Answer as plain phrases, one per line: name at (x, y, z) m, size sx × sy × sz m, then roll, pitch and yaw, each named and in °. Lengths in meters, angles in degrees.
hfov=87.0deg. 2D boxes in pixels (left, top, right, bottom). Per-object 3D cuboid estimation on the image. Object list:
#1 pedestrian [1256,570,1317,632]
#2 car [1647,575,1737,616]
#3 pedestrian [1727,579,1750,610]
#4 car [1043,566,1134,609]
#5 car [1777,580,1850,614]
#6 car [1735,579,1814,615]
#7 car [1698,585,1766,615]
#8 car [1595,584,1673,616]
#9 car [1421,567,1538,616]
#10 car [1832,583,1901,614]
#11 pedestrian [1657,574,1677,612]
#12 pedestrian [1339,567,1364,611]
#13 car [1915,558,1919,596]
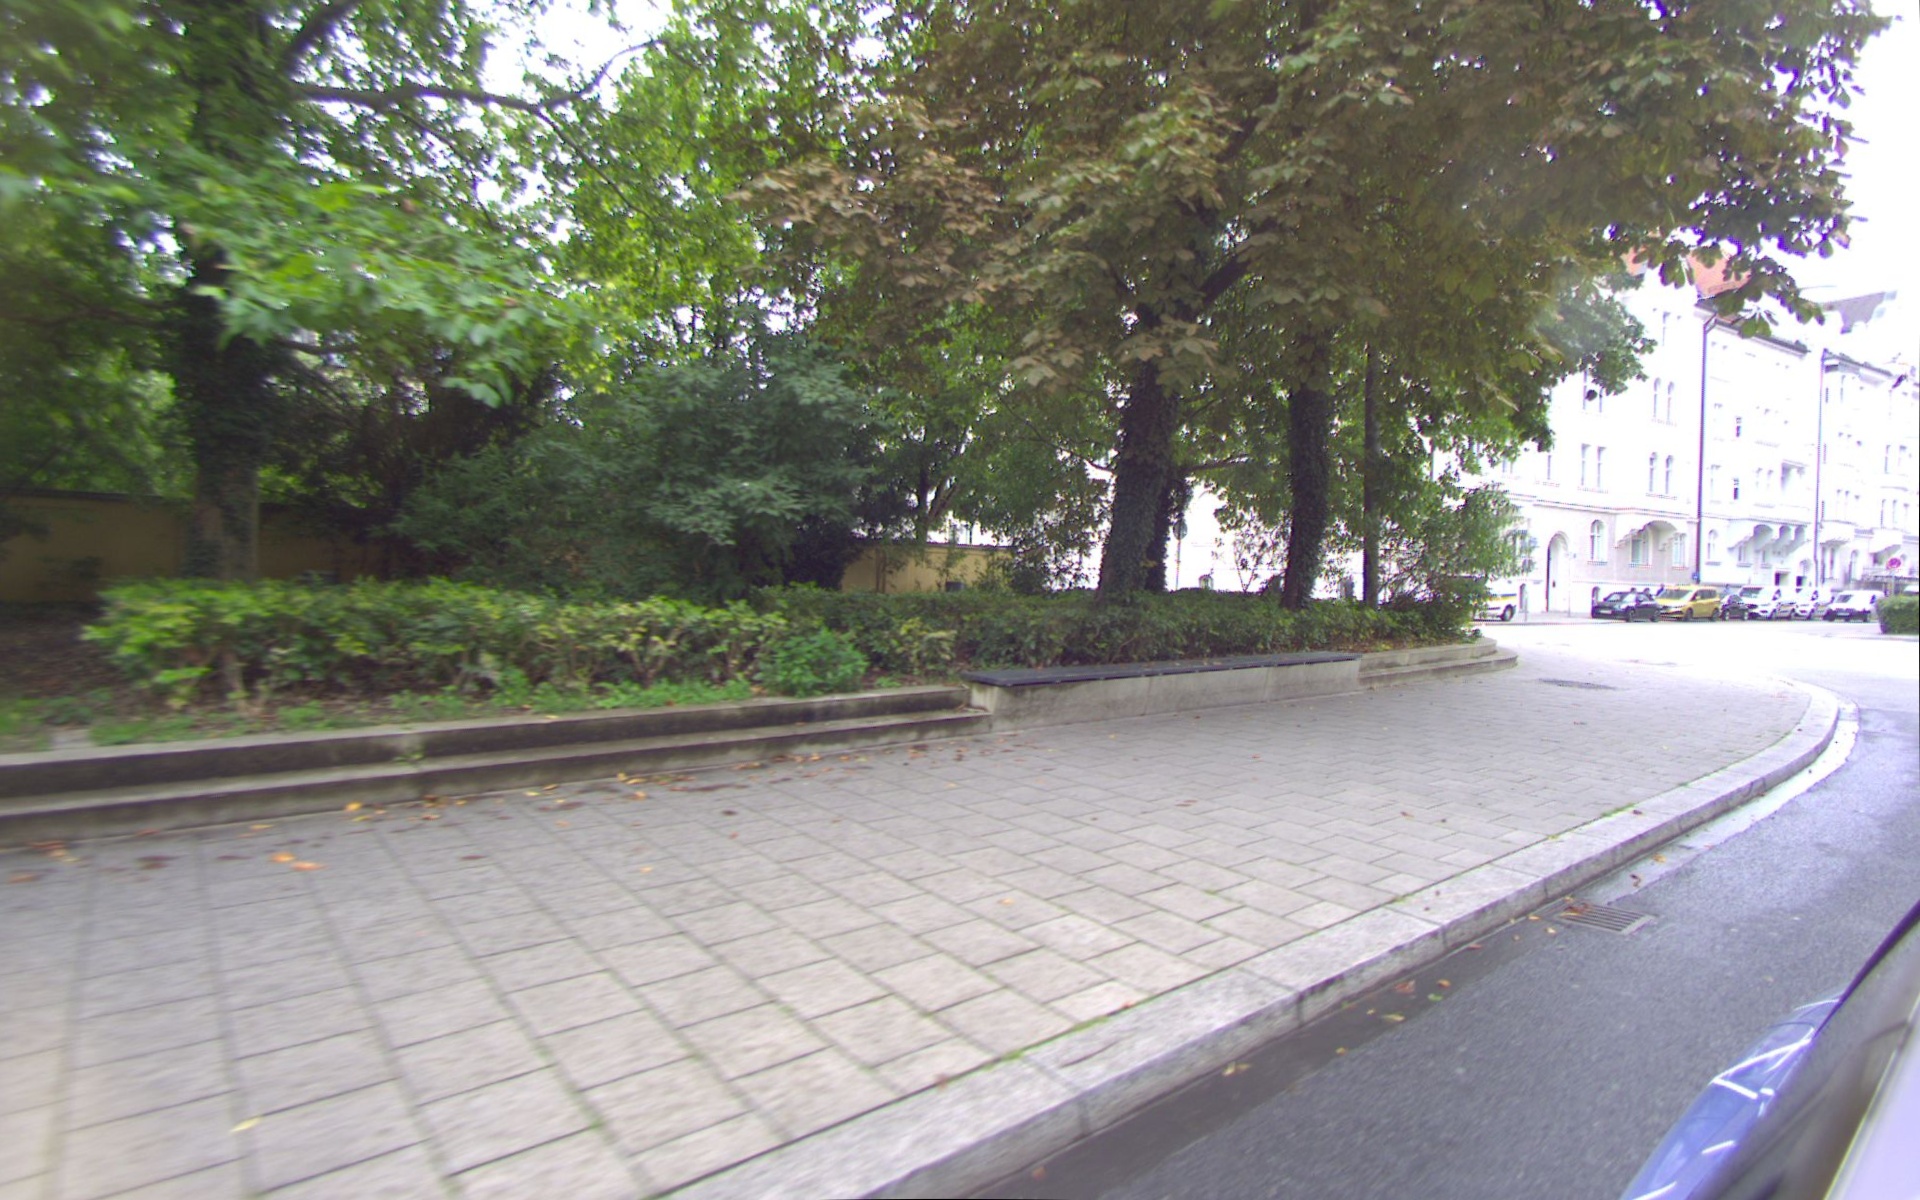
pedestrian at (7.490, 0.020, 23.239) m, size 1.109 × 1.373 × 0.772 m, roll 1°, pitch 1°, yaw -31°
car at (37.243, -0.231, 51.468) m, size 4.479 × 1.942 × 2.003 m, roll 0°, pitch 2°, yaw -29°
pedestrian at (49.004, -0.352, 63.690) m, size 0.731 × 1.926 × 0.856 m, roll 1°, pitch 1°, yaw -29°
car at (5.861, -0.601, 46.478) m, size 1.855 × 1.817 × 4.254 m, roll 0°, pitch 2°, yaw -32°
car at (51.358, -0.210, 60.866) m, size 4.782 × 1.942 × 2.002 m, roll 0°, pitch 2°, yaw -33°
car at (46.181, -0.169, 57.348) m, size 4.790 × 1.942 × 2.002 m, roll 0°, pitch 2°, yaw -33°
car at (41.565, 0.019, 54.486) m, size 3.808 × 1.533 × 1.640 m, roll 0°, pitch 1°, yaw -31°
car at (32.557, 0.002, 48.862) m, size 3.752 × 1.463 × 1.719 m, roll 0°, pitch 2°, yaw -32°
car at (21.937, -0.349, 42.689) m, size 5.269 × 1.945 × 1.946 m, roll 0°, pitch 2°, yaw -33°
car at (51.376, -0.087, 57.342) m, size 4.514 × 1.678 × 1.921 m, roll 0°, pitch 2°, yaw -36°
pedestrian at (38.174, -0.365, 54.634) m, size 0.713 × 2.039 × 0.586 m, roll 1°, pitch 1°, yaw -30°
pedestrian at (16.462, -0.469, 42.572) m, size 0.918 × 1.823 × 0.994 m, roll 1°, pitch 1°, yaw 18°
car at (72.587, -1.640, 74.967) m, size 5.350 × 2.721 × 2.081 m, roll 0°, pitch 3°, yaw -41°
